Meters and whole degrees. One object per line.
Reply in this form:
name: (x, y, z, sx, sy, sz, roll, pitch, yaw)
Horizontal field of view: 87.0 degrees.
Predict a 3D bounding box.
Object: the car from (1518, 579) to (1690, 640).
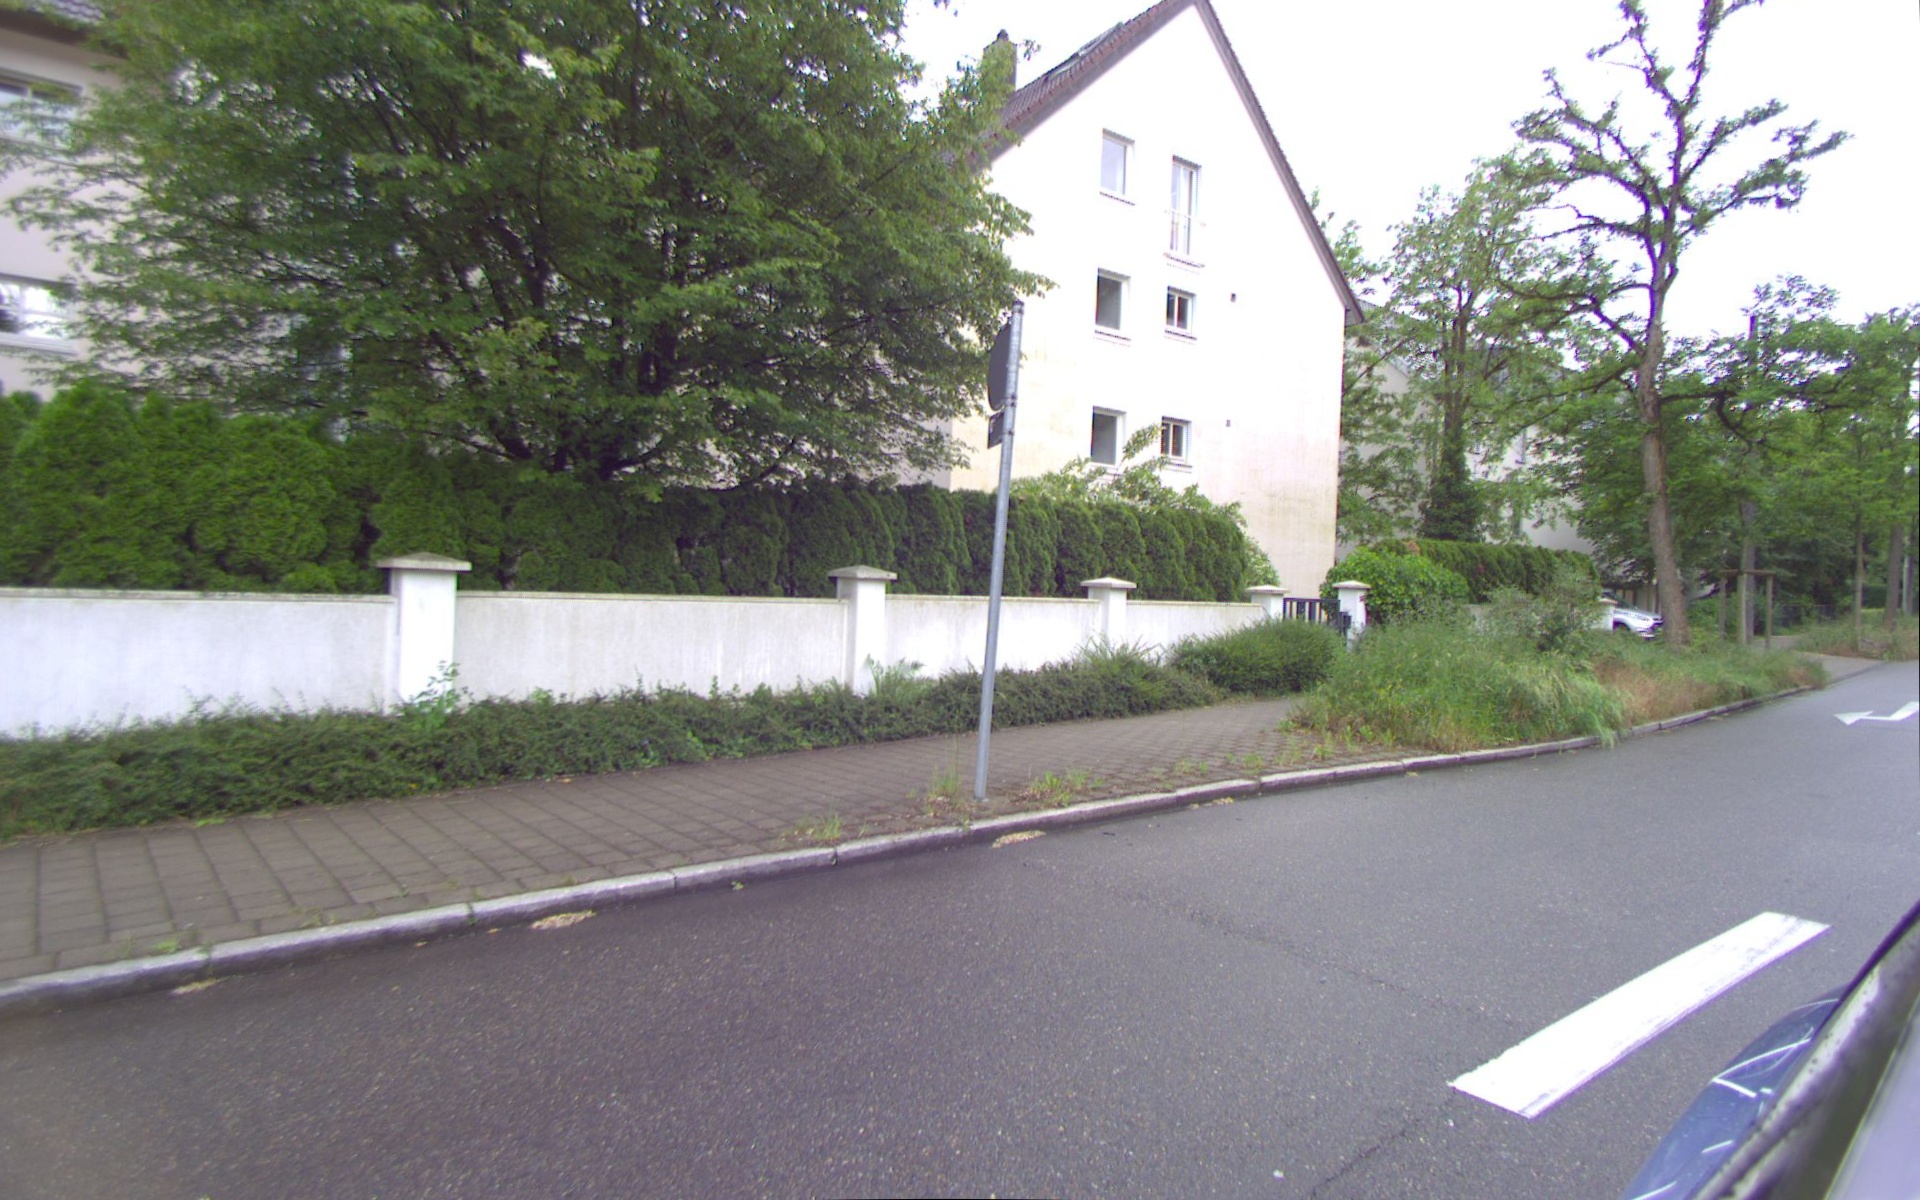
car: (20.652, 0.245, 32.648, 1.837, 1.840, 4.322, 1, 1, -31)
